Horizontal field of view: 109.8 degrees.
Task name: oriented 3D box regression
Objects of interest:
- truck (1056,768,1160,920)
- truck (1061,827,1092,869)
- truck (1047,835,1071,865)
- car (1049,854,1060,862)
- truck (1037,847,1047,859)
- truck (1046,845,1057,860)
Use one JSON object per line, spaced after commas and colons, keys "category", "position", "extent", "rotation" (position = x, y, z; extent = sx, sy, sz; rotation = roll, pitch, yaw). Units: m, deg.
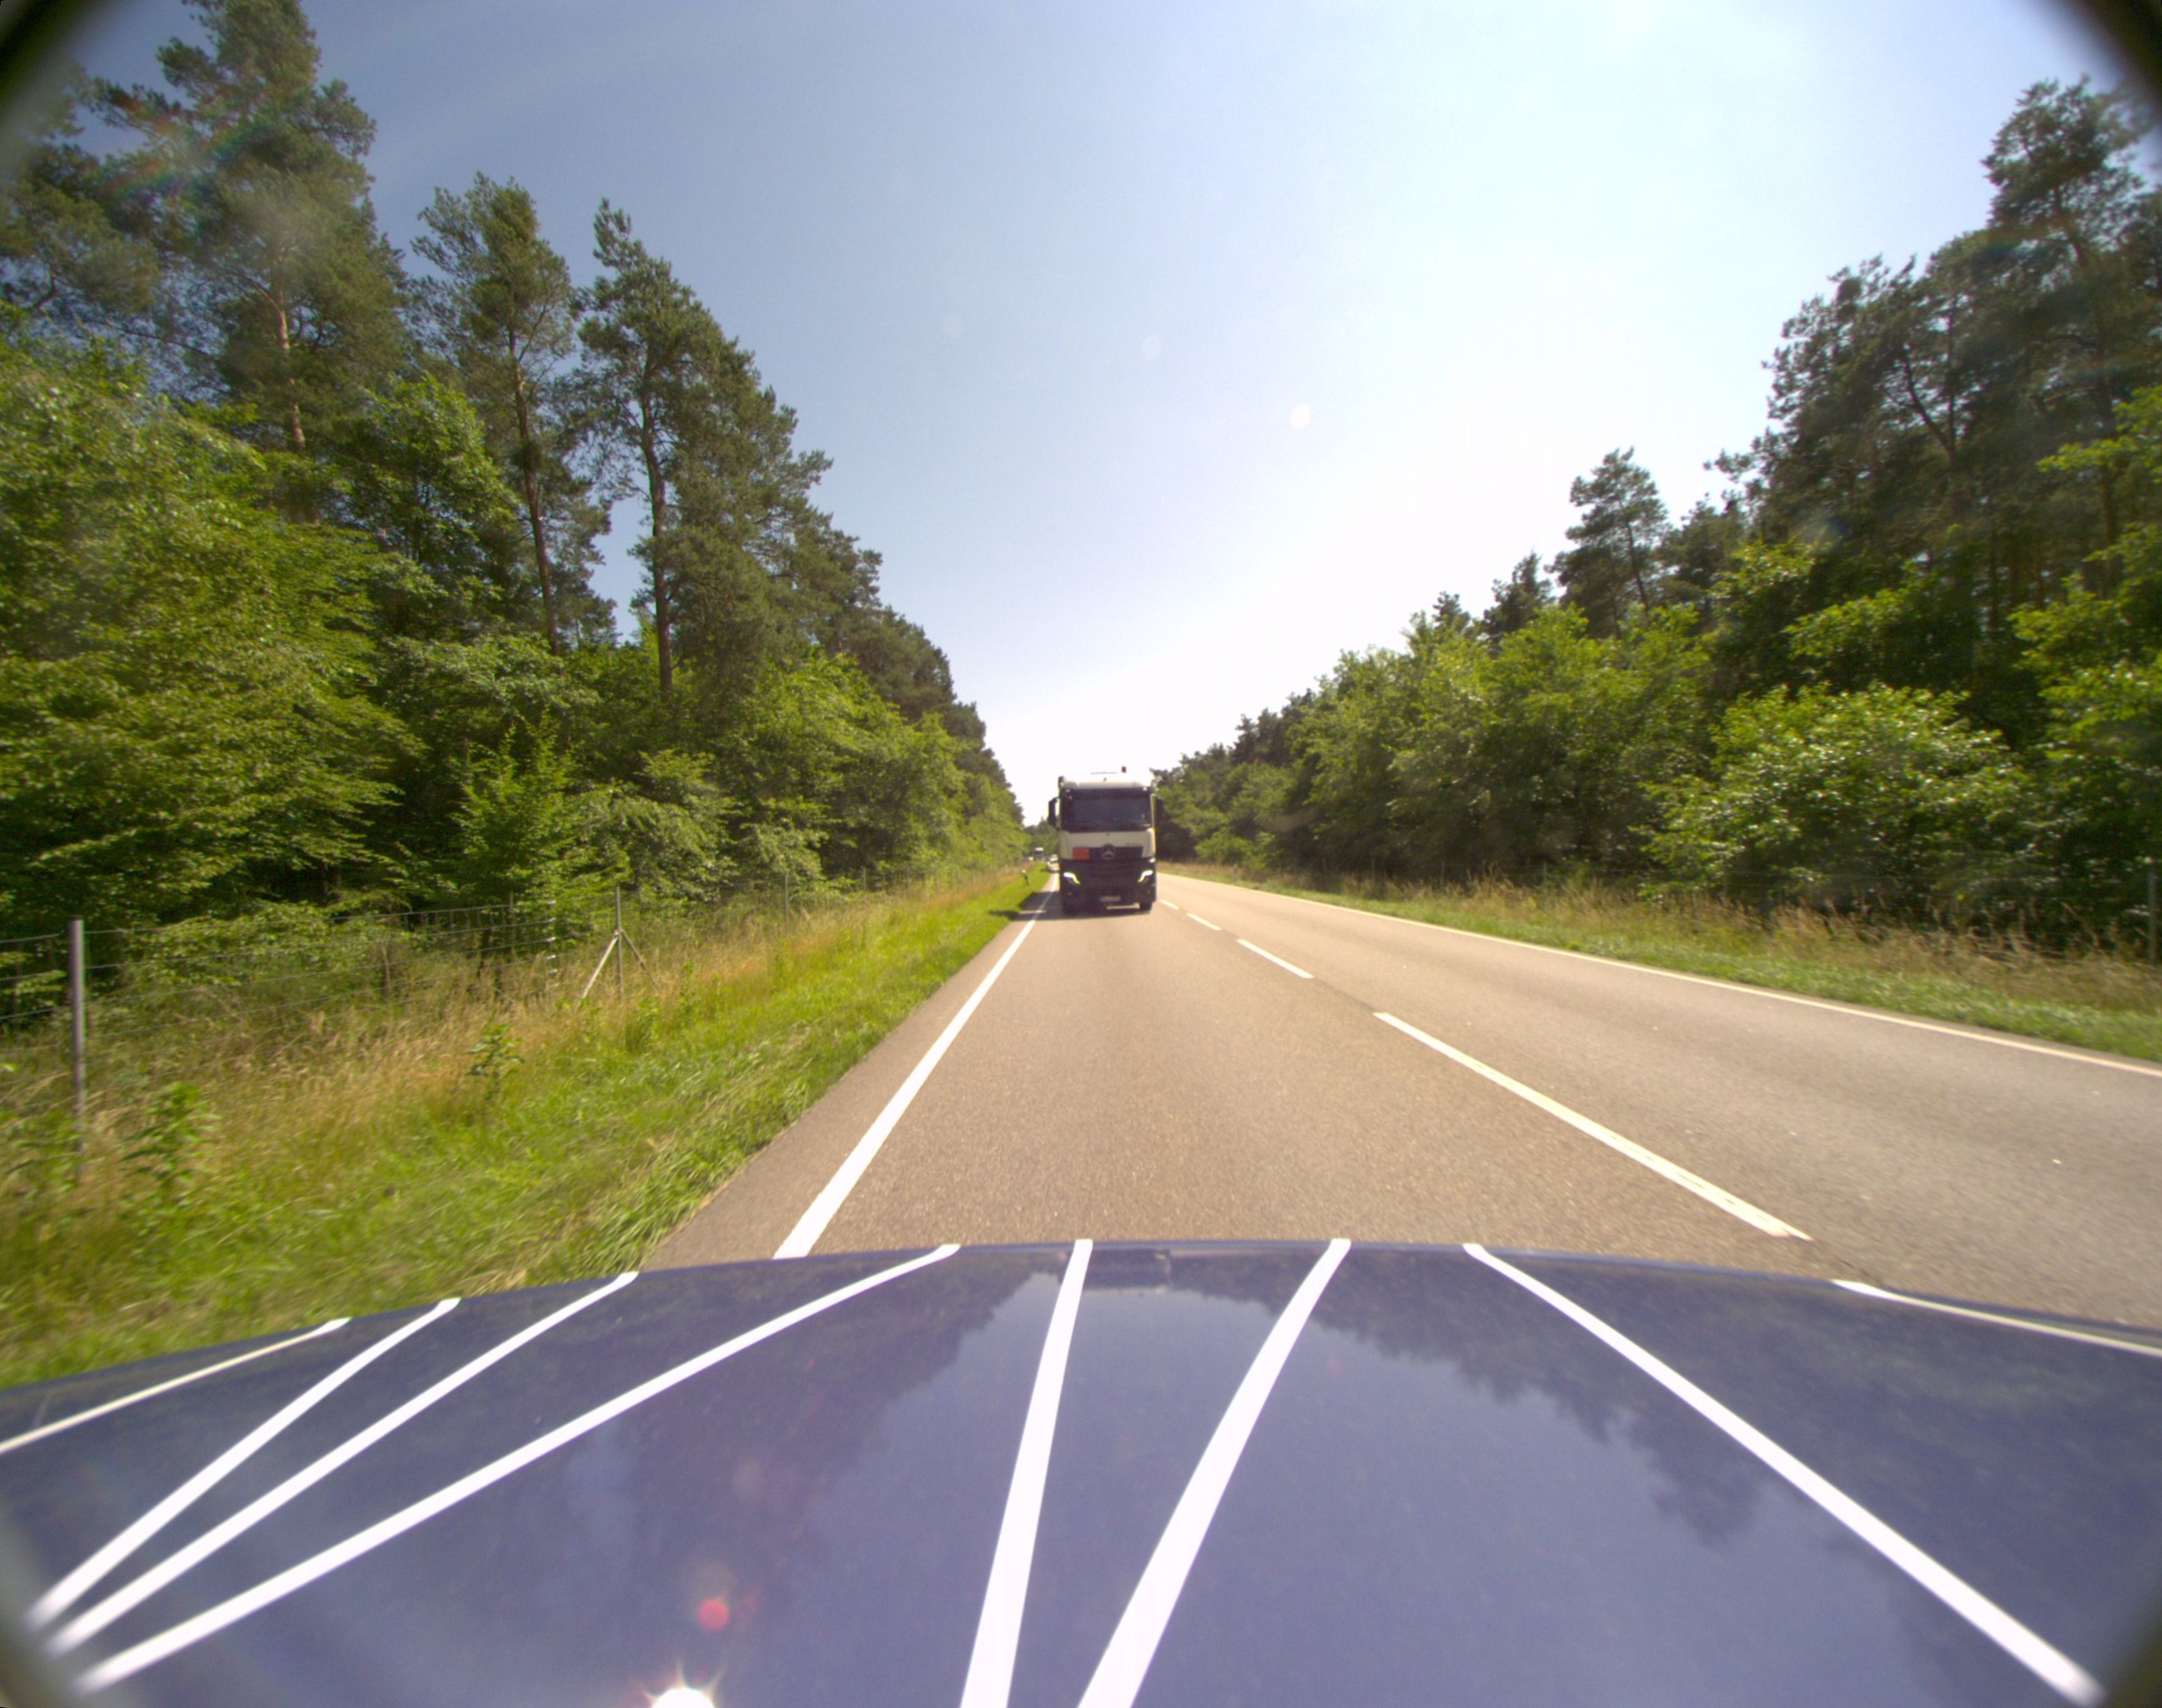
{"category": "truck", "position": [0.650, -0.243, 22.155], "extent": [2.435, 3.672, 6.456], "rotation": [-2, 0, -1]}
{"category": "truck", "position": [-0.513, -0.564, 70.595], "extent": [2.495, 3.698, 6.222], "rotation": [1, 0, -4]}
{"category": "truck", "position": [-2.534, -0.436, 85.921], "extent": [2.495, 3.316, 6.222], "rotation": [1, 0, -4]}
{"category": "car", "position": [-4.750, 0.692, 136.617], "extent": [1.885, 1.462, 3.999], "rotation": [-3, 0, -2]}
{"category": "truck", "position": [-12.134, -0.392, 233.426], "extent": [2.495, 3.619, 6.100], "rotation": [-3, 0, -7]}
{"category": "truck", "position": [-7.479, -0.394, 192.377], "extent": [2.495, 3.619, 6.101], "rotation": [-1, 0, -4]}
